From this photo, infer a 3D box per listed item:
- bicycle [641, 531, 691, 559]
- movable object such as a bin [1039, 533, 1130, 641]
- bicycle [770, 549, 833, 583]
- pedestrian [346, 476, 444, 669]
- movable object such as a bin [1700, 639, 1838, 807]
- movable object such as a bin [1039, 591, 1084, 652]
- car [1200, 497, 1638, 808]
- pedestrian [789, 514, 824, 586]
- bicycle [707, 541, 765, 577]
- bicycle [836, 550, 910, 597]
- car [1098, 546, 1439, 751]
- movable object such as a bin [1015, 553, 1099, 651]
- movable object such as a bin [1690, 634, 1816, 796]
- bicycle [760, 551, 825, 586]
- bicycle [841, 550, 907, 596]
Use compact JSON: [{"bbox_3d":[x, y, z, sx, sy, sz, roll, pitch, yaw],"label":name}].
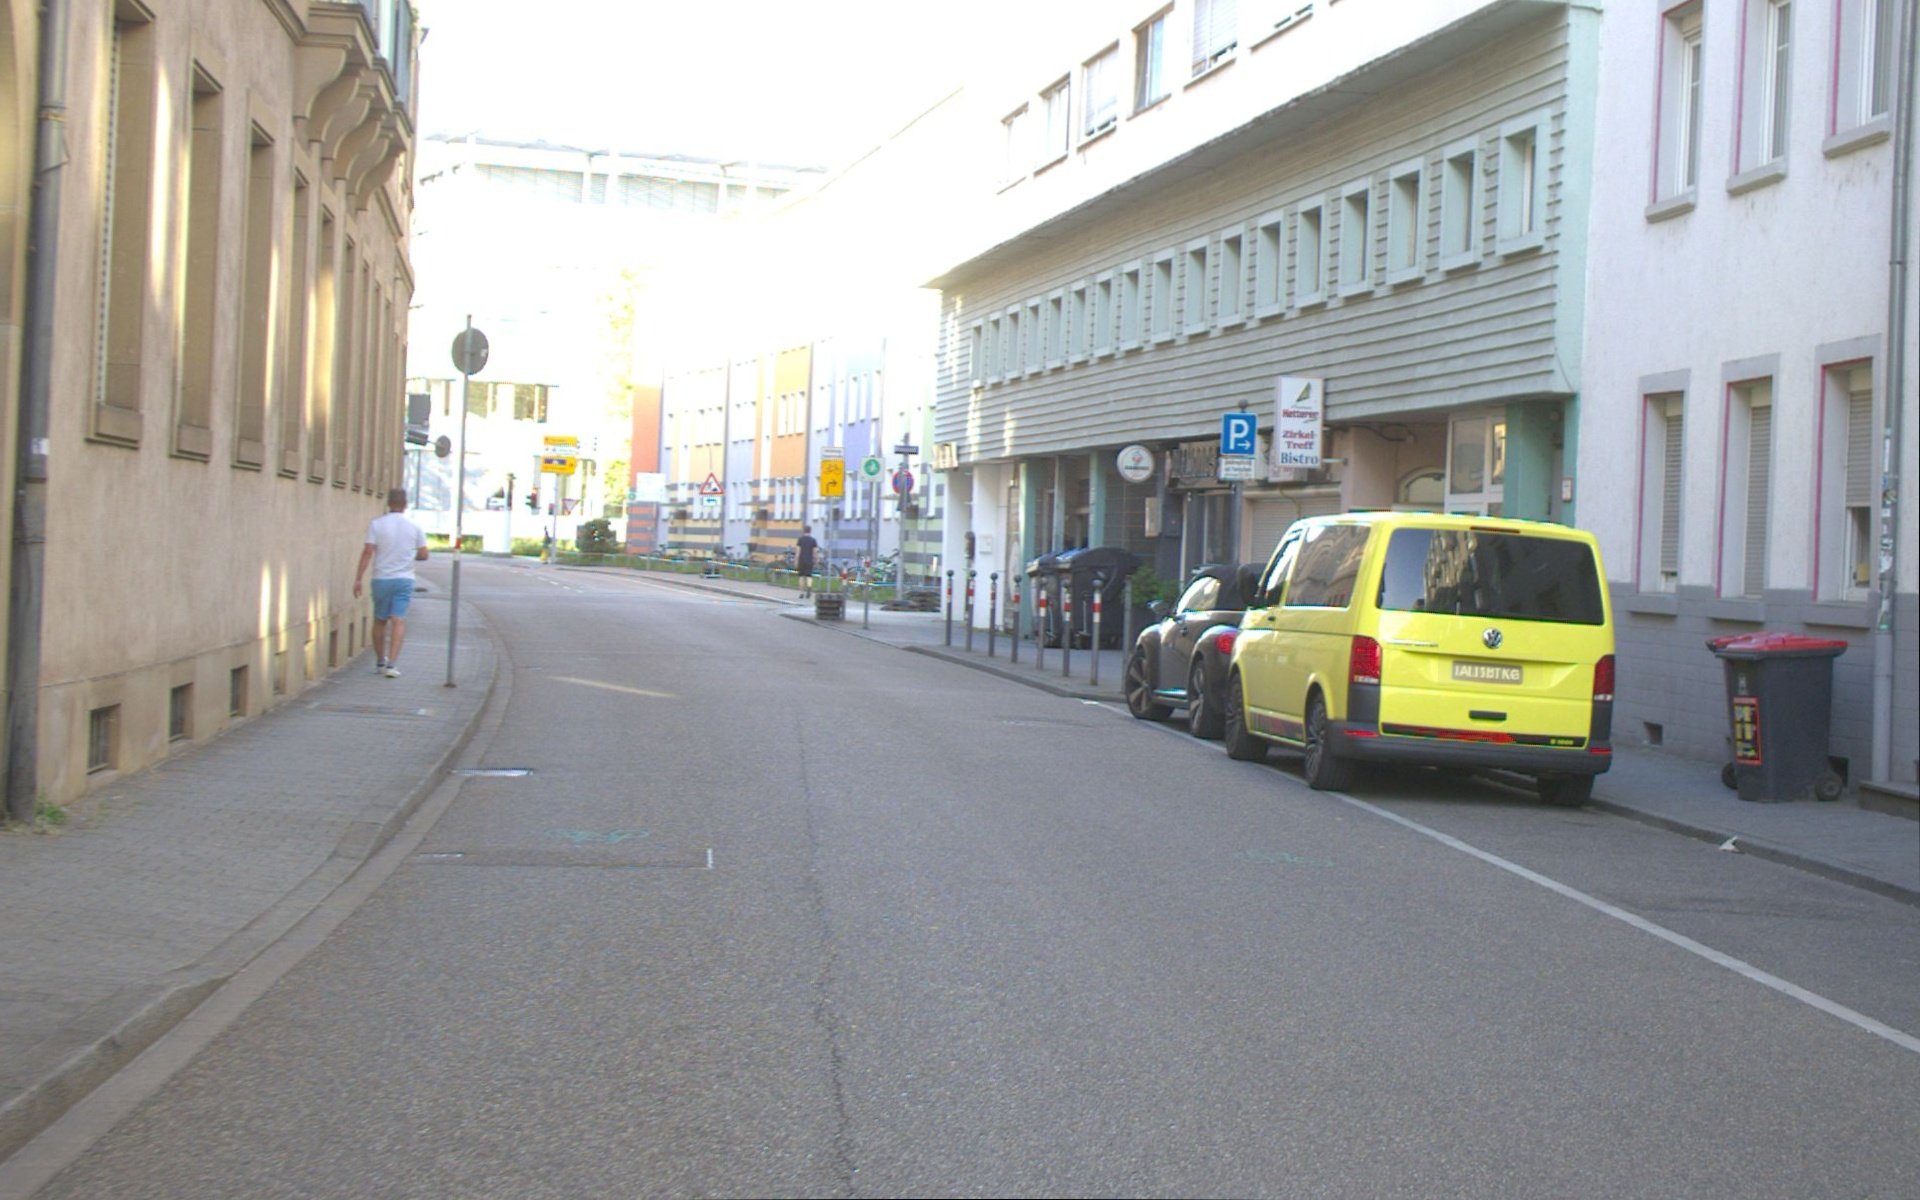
[{"bbox_3d":[-10.963,-2.054,128.327,1.753,1.000,0.613,1,0,-15],"label":"bicycle"},{"bbox_3d":[1.755,-0.167,48.693,0.981,1.475,1.552,2,-1,-8],"label":"movable object such as a bin"},{"bbox_3d":[-4.609,-0.990,99.953,1.748,0.943,0.326,2,0,-10],"label":"bicycle"},{"bbox_3d":[-5.098,-0.248,31.064,0.692,1.664,0.875,5,0,-7],"label":"pedestrian"},{"bbox_3d":[5.310,0.799,22.590,0.626,1.047,0.709,-2,1,-10],"label":"movable object such as a bin"},{"bbox_3d":[1.509,0.322,51.224,0.556,0.896,0.523,2,-1,-8],"label":"movable object such as a bin"},{"bbox_3d":[3.117,0.289,24.448,1.883,1.875,4.846,4,1,-6],"label":"car"},{"bbox_3d":[-3.746,-1.227,83.818,0.696,1.754,1.189,0,1,-11],"label":"pedestrian"},{"bbox_3d":[-7.459,-1.365,114.565,1.810,1.133,0.552,3,0,-12],"label":"bicycle"},{"bbox_3d":[-2.126,-0.644,84.359,1.748,1.137,0.552,0,2,-11],"label":"bicycle"},{"bbox_3d":[2.566,0.358,29.728,1.883,1.484,4.369,4,1,-8],"label":"car"},{"bbox_3d":[1.412,0.035,50.159,0.981,1.380,1.321,2,-1,-8],"label":"movable object such as a bin"},{"bbox_3d":[5.394,0.773,23.399,0.606,1.047,0.709,-2,1,-7],"label":"movable object such as a bin"},{"bbox_3d":[-4.783,-0.905,98.040,1.748,0.943,0.552,2,0,-11],"label":"bicycle"},{"bbox_3d":[-2.153,-0.677,85.790,1.640,1.137,0.283,-1,2,-19],"label":"bicycle"}]
